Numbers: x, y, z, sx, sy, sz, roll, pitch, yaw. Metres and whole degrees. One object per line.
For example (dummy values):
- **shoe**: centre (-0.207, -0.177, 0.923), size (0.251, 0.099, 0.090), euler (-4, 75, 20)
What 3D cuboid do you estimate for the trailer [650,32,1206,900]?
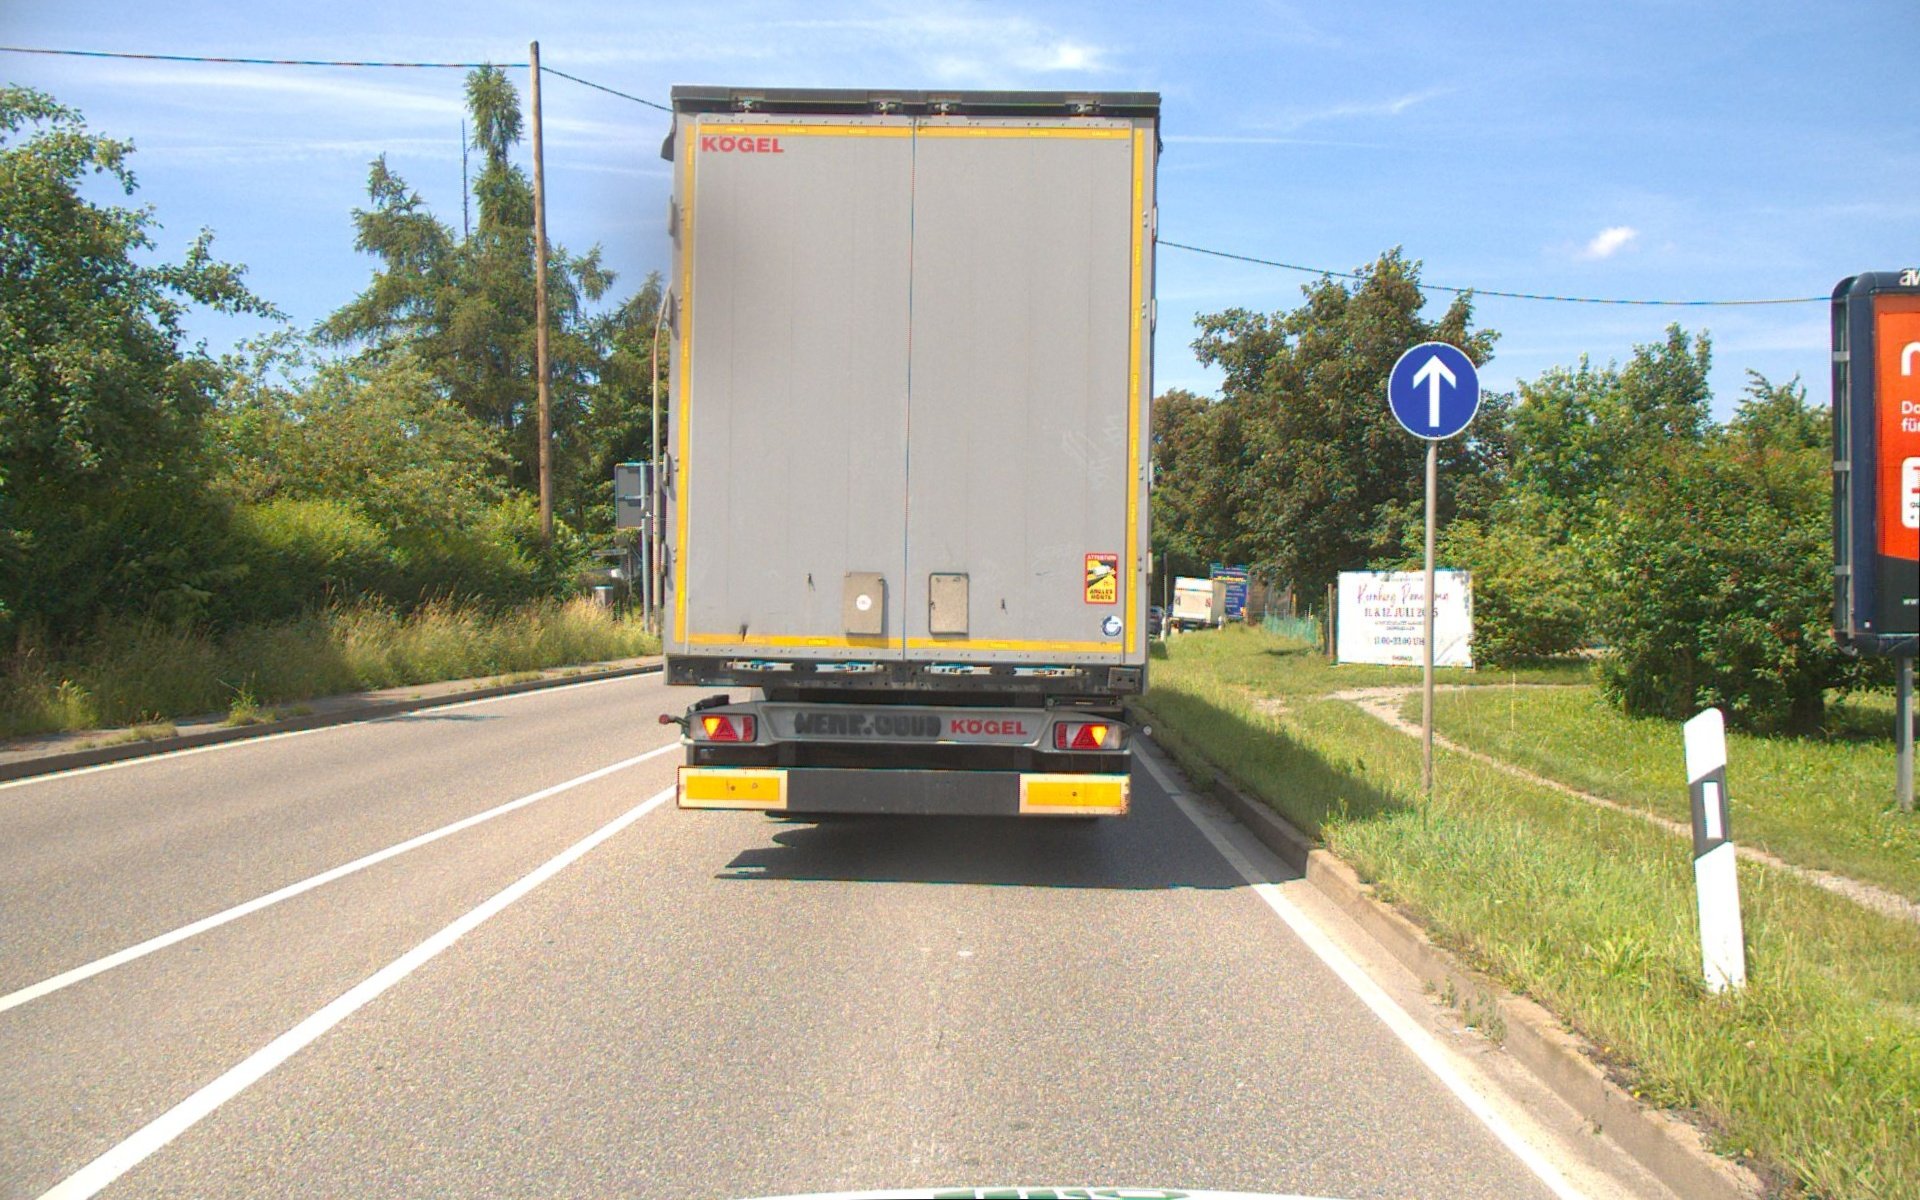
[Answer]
- **trailer**: centre (0.012, -0.741, 14.237), size (2.729, 4.278, 12.114), euler (0, 1, 2)

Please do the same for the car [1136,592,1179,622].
- **car**: centre (12.612, 0.423, 105.314), size (1.952, 1.870, 4.002), euler (1, 1, 19)

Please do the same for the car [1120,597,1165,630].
- **car**: centre (8.731, 0.629, 78.952), size (1.802, 1.512, 4.004), euler (1, 1, 10)

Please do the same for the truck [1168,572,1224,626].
- **truck**: centre (13.114, -0.079, 91.566), size (2.369, 2.888, 5.416), euler (0, 1, 15)

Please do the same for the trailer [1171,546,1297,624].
- **trailer**: centre (18.108, -1.002, 107.788), size (5.072, 4.709, 15.898), euler (1, 1, 20)

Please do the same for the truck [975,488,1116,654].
- **truck**: centre (2.730, -0.829, 50.025), size (3.853, 4.655, 7.157), euler (0, 0, 6)

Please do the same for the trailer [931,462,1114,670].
- **trailer**: centre (1.976, -0.773, 43.076), size (3.808, 4.600, 12.722), euler (0, 0, 6)

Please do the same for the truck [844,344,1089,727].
- **truck**: centre (0.270, -0.766, 21.485), size (2.688, 4.238, 6.146), euler (1, 1, 4)

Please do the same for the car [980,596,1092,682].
- **car**: centre (1.573, 0.720, 32.925), size (1.951, 1.556, 4.003), euler (1, 1, 6)
